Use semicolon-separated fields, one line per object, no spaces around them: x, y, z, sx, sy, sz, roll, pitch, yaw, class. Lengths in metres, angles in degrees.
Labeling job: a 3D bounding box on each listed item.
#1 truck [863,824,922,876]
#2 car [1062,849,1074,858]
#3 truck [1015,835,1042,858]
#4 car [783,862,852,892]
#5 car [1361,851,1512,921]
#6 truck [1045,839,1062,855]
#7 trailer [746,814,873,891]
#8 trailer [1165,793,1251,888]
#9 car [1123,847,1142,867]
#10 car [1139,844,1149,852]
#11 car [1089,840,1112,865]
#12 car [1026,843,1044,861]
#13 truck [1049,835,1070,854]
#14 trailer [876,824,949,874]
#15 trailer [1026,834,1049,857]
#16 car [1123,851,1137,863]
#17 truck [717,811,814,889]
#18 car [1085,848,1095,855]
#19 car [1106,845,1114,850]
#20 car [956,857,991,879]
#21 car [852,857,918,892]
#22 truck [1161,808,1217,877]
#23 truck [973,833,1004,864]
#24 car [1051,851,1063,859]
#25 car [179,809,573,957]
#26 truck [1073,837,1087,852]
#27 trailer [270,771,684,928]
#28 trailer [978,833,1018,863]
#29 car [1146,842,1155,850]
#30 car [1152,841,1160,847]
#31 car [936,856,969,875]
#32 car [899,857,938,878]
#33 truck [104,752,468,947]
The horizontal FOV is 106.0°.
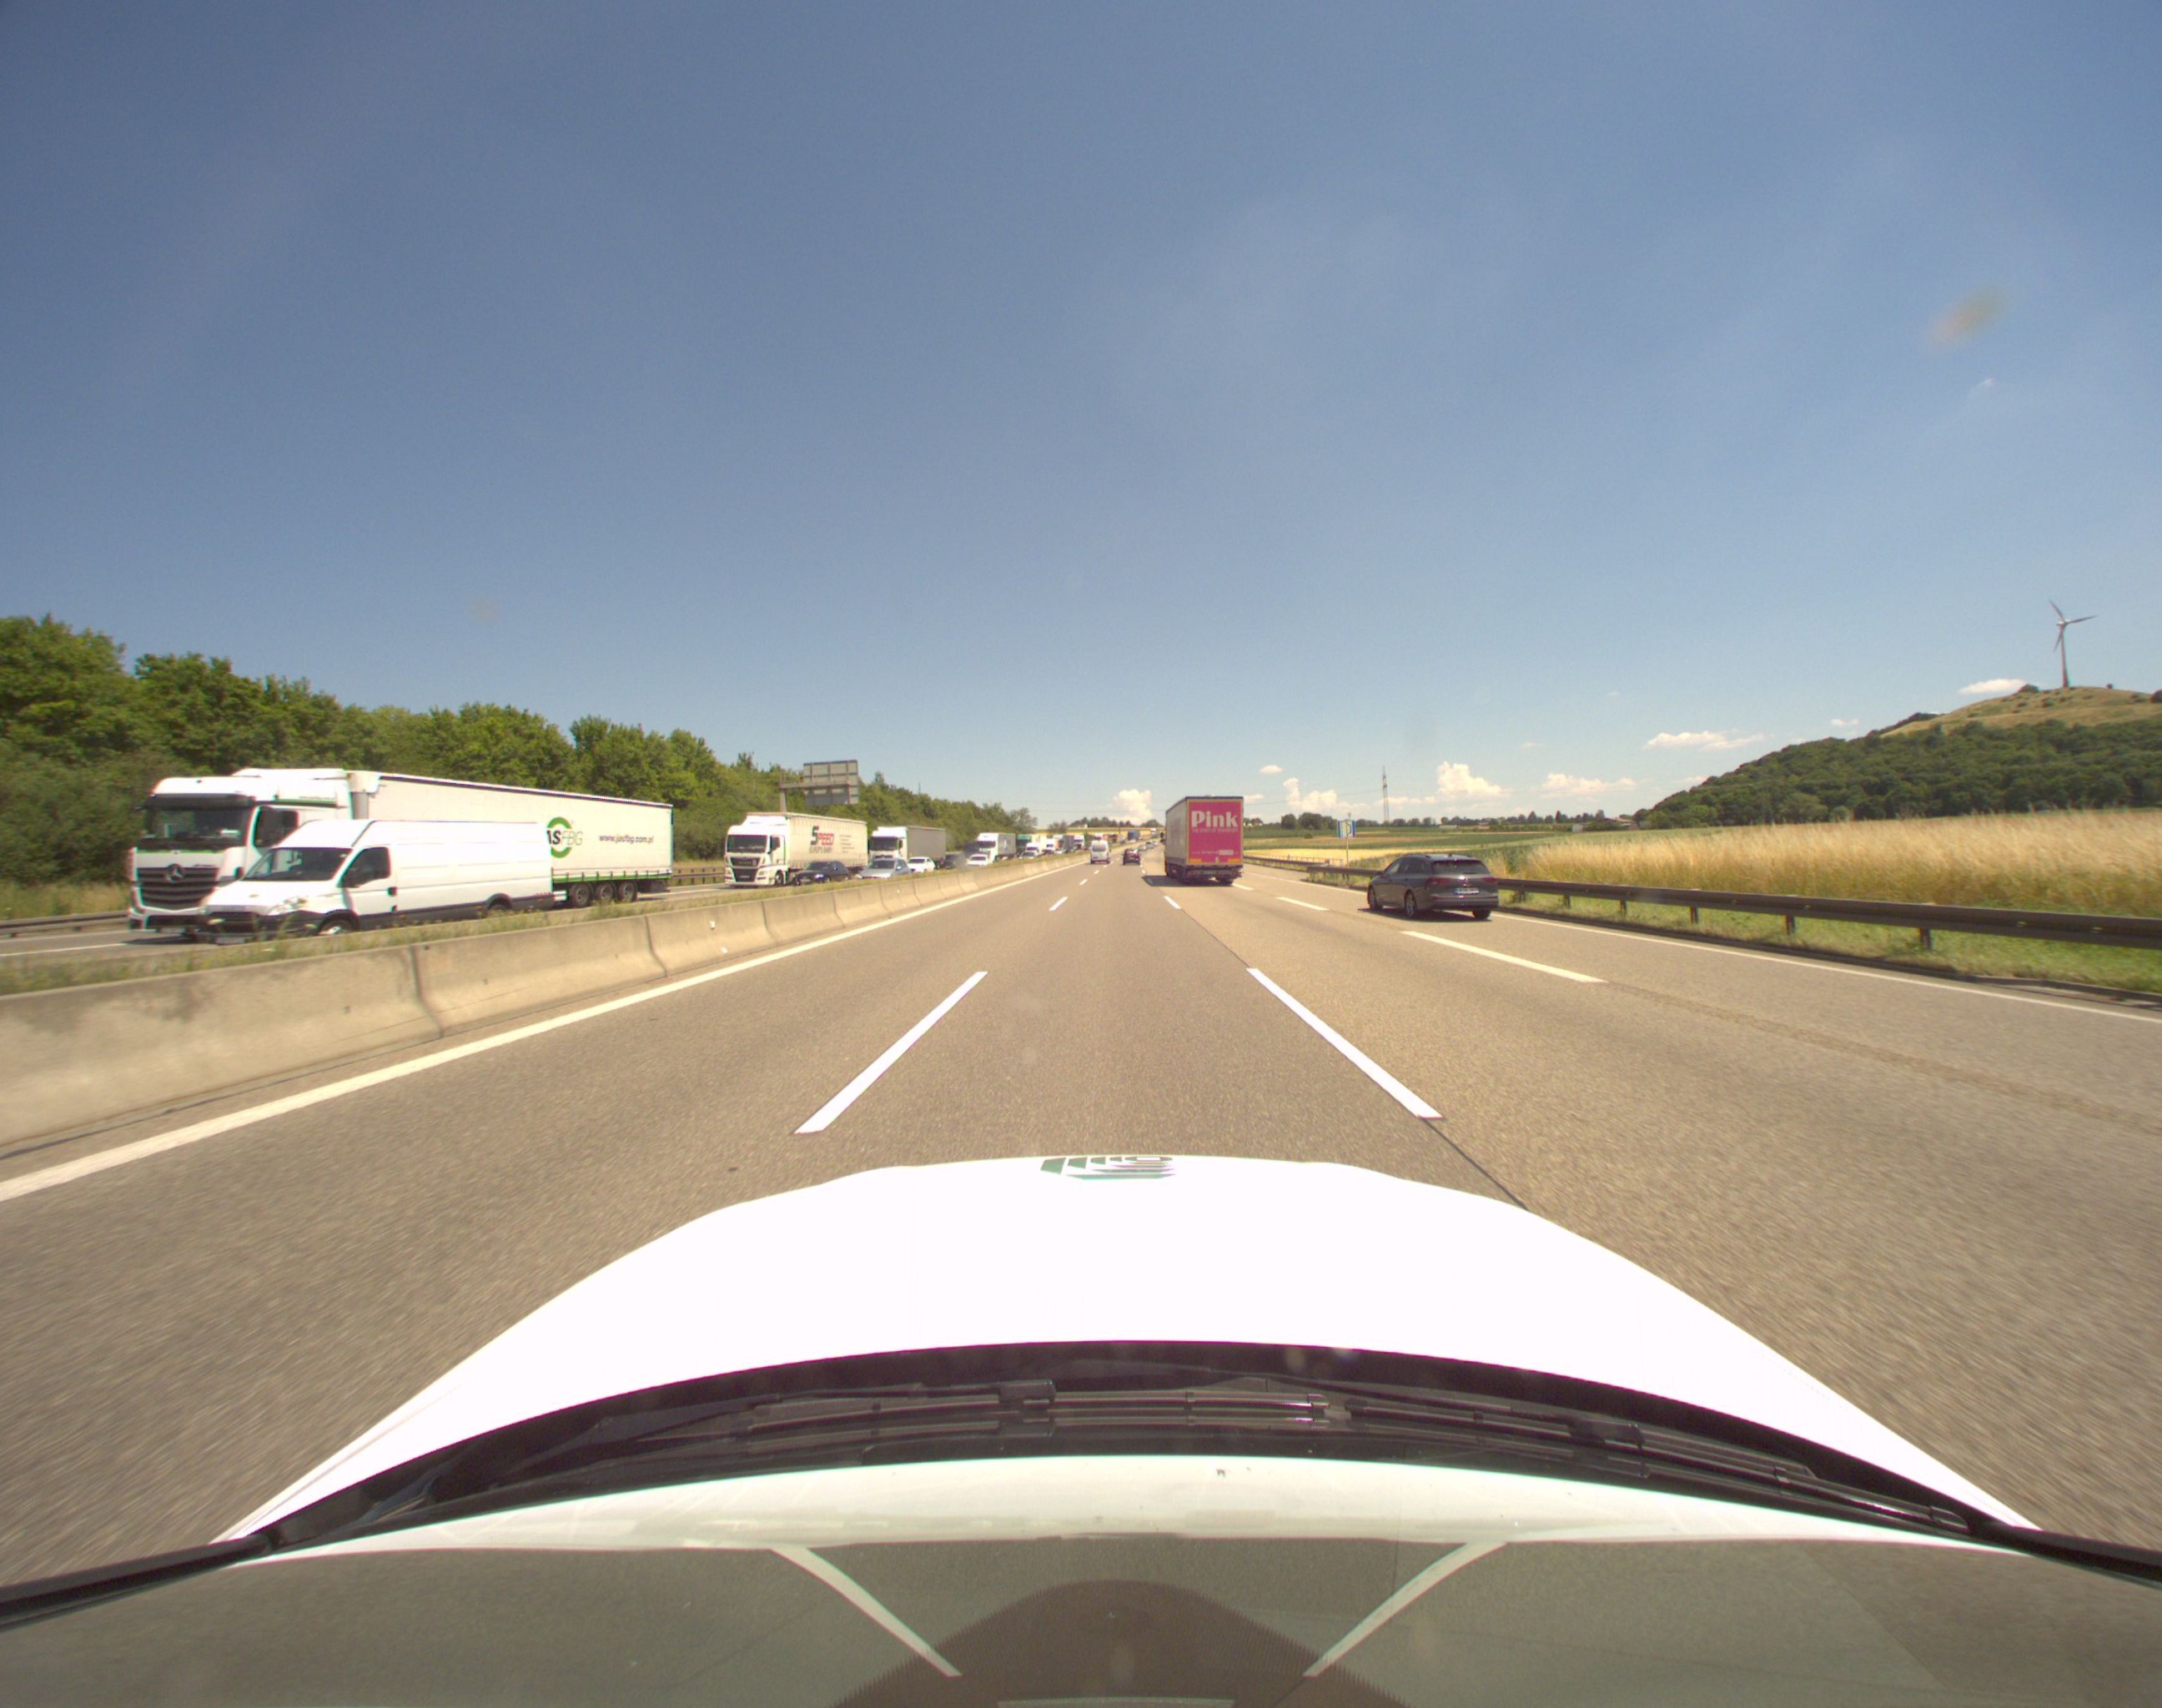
-15.943;-0.299;69.346;2.948;4.210;6.613;-1;0;5;truck
-2.733;-0.070;172.182;1.852;1.641;5.120;-1;-1;5;car
-9.428;-1.410;147.469;2.828;3.898;11.267;-2;1;6;truck
-13.912;1.166;43.256;1.869;1.434;4.927;-1;0;2;car
8.231;0.702;19.360;1.754;1.471;4.538;-1;-1;2;car
-5.804;-1.488;172.753;2.525;3.207;7.602;-1;1;6;truck
-17.046;-0.110;52.673;2.799;4.278;13.880;-1;0;3;trailer
6.237;-0.655;42.442;2.907;4.117;13.868;-1;1;3;trailer
5.272;0.291;83.741;1.840;1.860;4.209;-1;2;2;car
14.096;-1.294;182.307;1.984;1.585;4.006;-2;0;5;car
2.175;-0.100;89.902;2.169;2.625;4.679;-1;-1;5;car
-7.271;-0.301;129.279;2.129;2.786;6.632;-1;-1;4;car
-4.897;-2.244;186.023;2.985;4.233;10.757;-1;1;7;truck
-15.458;-0.406;76.447;2.969;4.206;14.208;-1;0;4;trailer
-8.383;-1.666;157.034;2.905;4.071;8.246;-2;1;7;trailer
7.369;0.394;122.631;1.985;1.750;4.003;-1;-1;3;car
-17.432;-0.230;45.454;2.744;4.042;6.103;-1;0;2;truck
2.336;-0.662;204.240;1.984;1.545;5.503;-1;1;5;car
8.921;-2.021;251.436;1.983;1.455;5.180;-1;1;7;car
-8.554;1.093;64.988;1.986;1.643;4.409;-1;-1;2;car
-9.729;0.974;40.724;1.986;1.578;4.598;-1;0;2;car
6.656;-0.723;50.980;2.904;4.008;6.516;-1;1;3;truck
-12.723;-0.812;112.641;2.840;4.036;6.613;-2;0;5;truck
-4.554;0.166;157.212;1.744;1.460;4.864;-1;-1;4;car
-14.807;0.522;18.147;1.890;2.574;7.577;-1;0;3;car
-0.277;-2.675;218.754;2.885;3.876;6.192;-1;1;7;truck
-18.478;-0.102;27.261;2.891;3.873;13.887;-1;0;3;trailer
-12.088;-0.890;119.803;2.888;4.086;14.468;-2;1;6;trailer
17.588;-2.135;206.258;1.984;1.904;4.004;-1;-1;4;car
22.048;-3.026;239.110;1.982;1.551;4.010;0;2;8;car
-11.784;1.026;74.933;1.985;1.715;4.795;-1;0;3;car
-12.163;1.014;61.177;1.873;1.474;4.409;-1;-1;3;car
-18.844;-0.091;19.976;2.836;4.007;5.979;-1;0;3;truck
